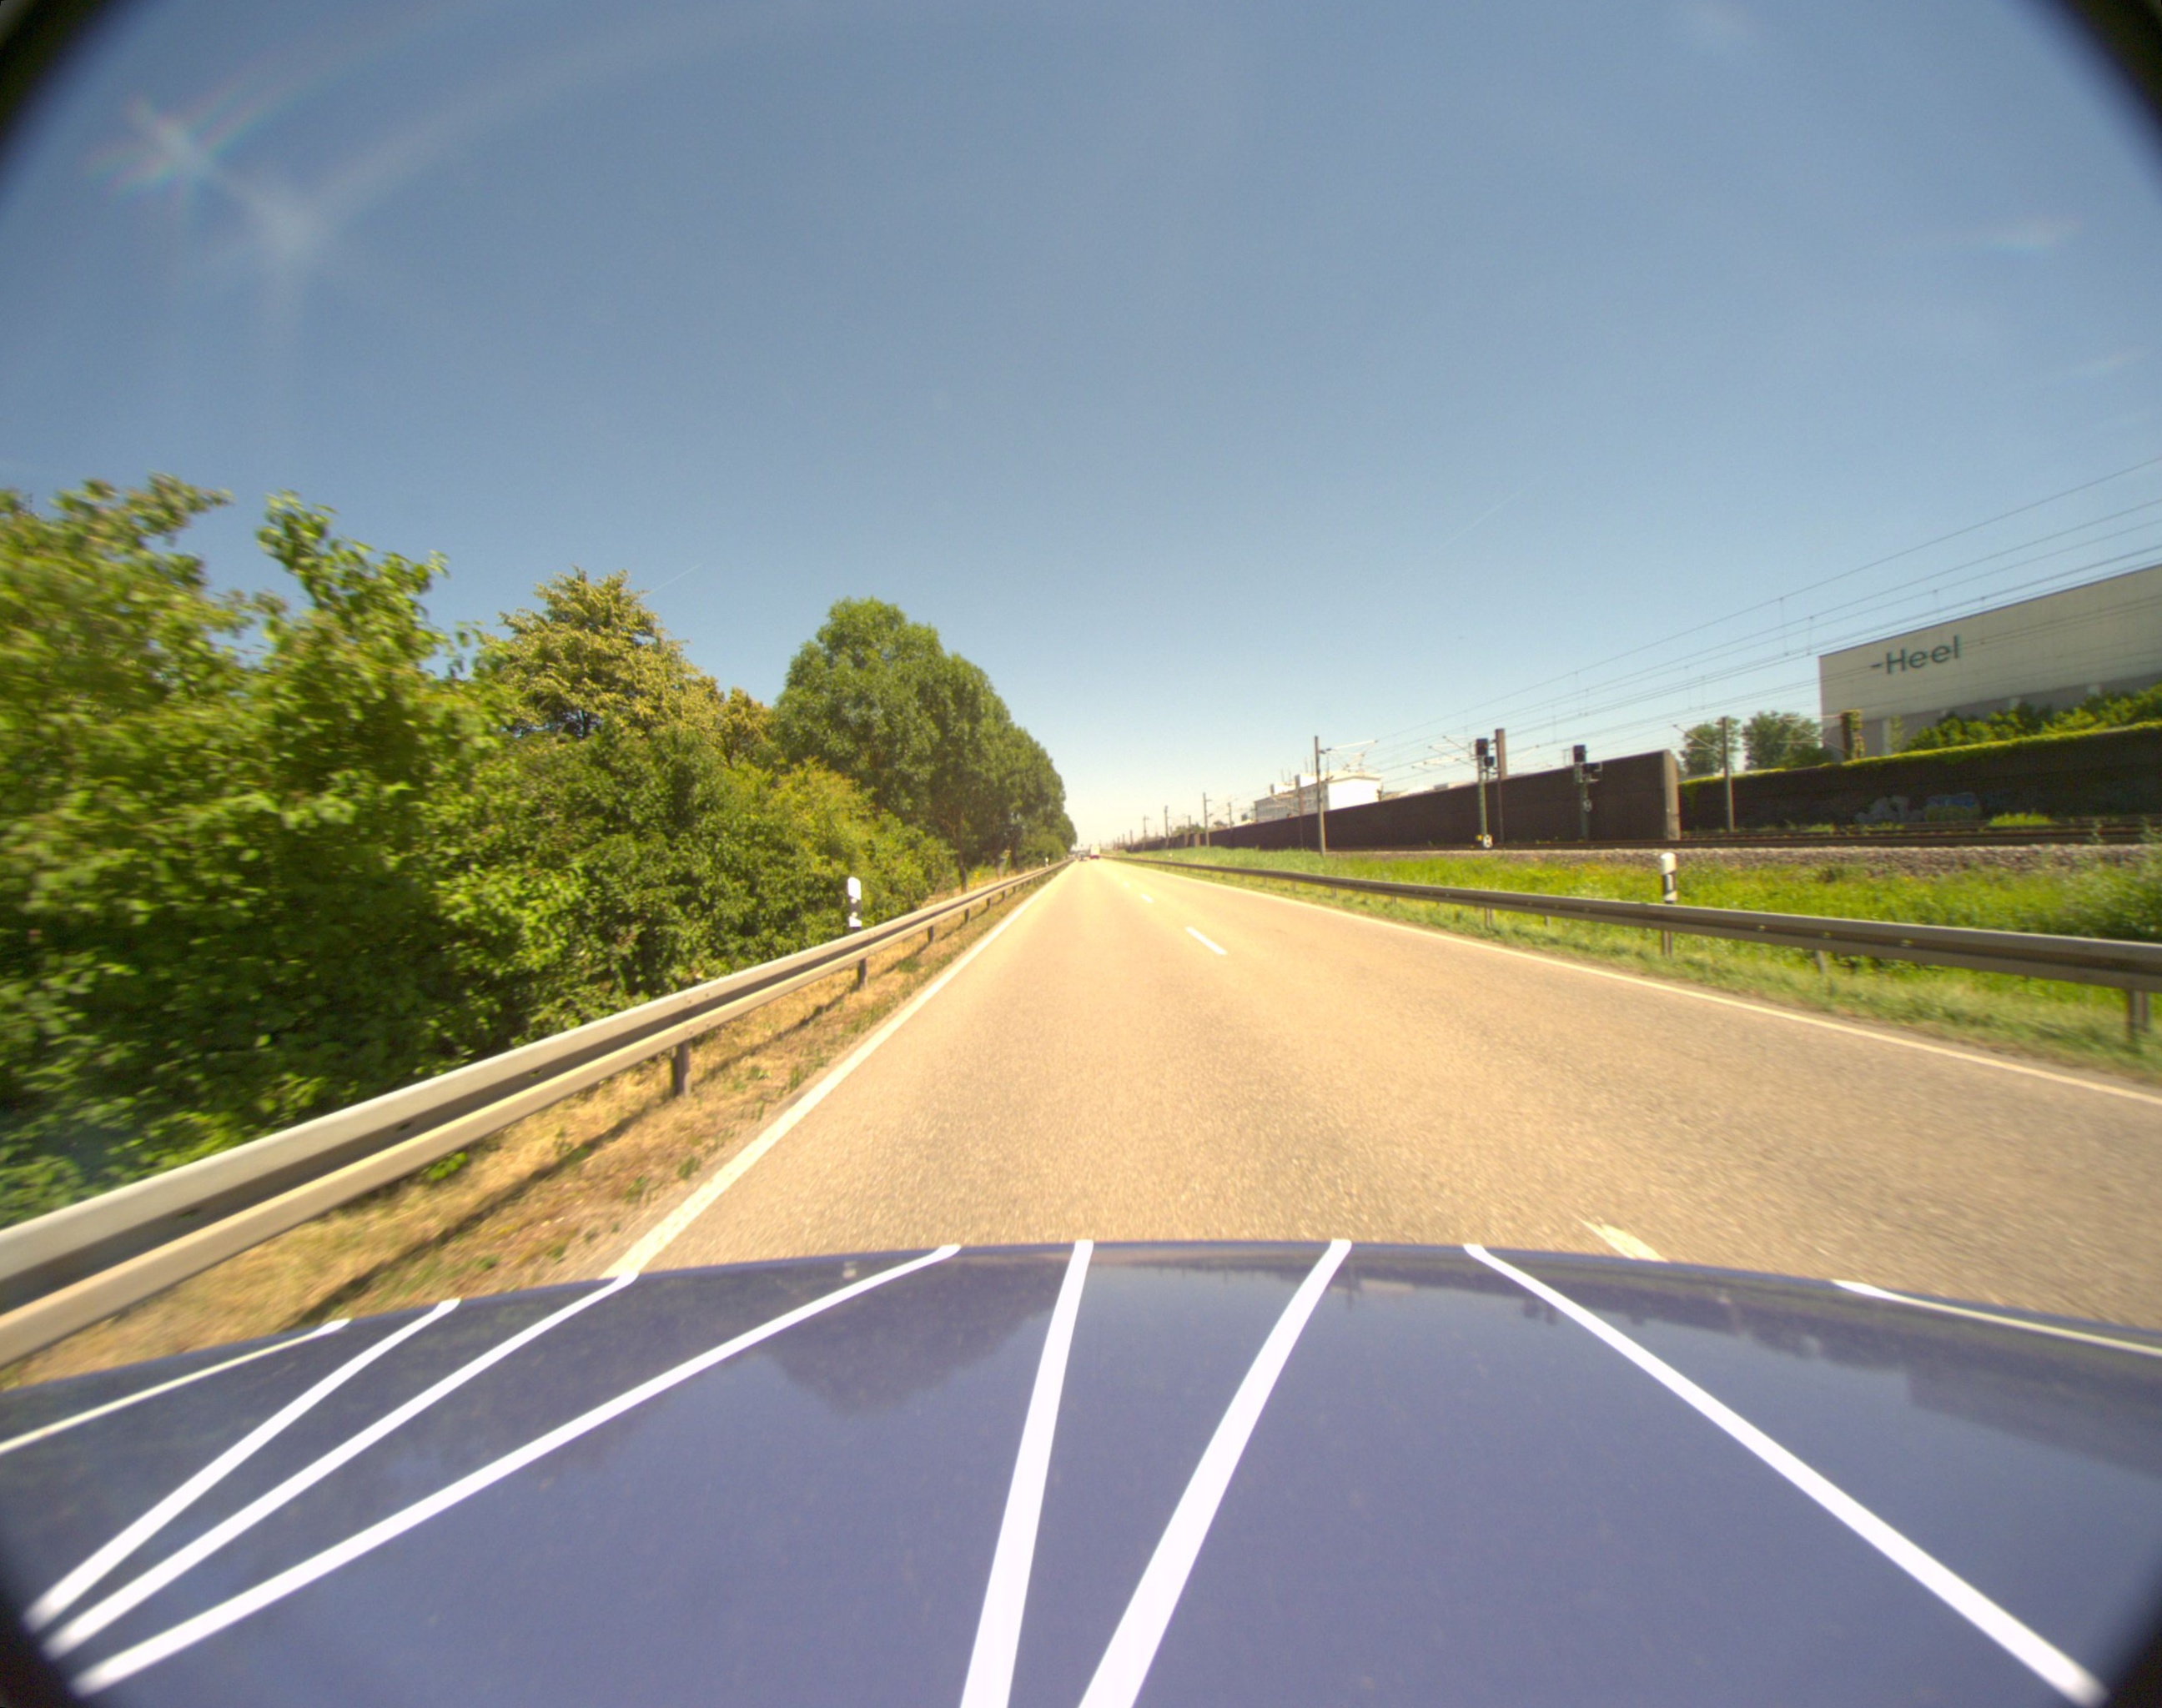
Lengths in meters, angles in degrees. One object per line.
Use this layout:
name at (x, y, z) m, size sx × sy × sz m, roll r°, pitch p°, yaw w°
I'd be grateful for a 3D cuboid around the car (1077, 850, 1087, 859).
car at (0.280, 0.084, 169.847) m, size 1.999 × 2.002 × 3.999 m, roll -2°, pitch 0°, yaw -1°

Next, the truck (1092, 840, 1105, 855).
truck at (5.055, -1.788, 222.186) m, size 2.805 × 3.955 × 10.496 m, roll -5°, pitch 0°, yaw -3°
